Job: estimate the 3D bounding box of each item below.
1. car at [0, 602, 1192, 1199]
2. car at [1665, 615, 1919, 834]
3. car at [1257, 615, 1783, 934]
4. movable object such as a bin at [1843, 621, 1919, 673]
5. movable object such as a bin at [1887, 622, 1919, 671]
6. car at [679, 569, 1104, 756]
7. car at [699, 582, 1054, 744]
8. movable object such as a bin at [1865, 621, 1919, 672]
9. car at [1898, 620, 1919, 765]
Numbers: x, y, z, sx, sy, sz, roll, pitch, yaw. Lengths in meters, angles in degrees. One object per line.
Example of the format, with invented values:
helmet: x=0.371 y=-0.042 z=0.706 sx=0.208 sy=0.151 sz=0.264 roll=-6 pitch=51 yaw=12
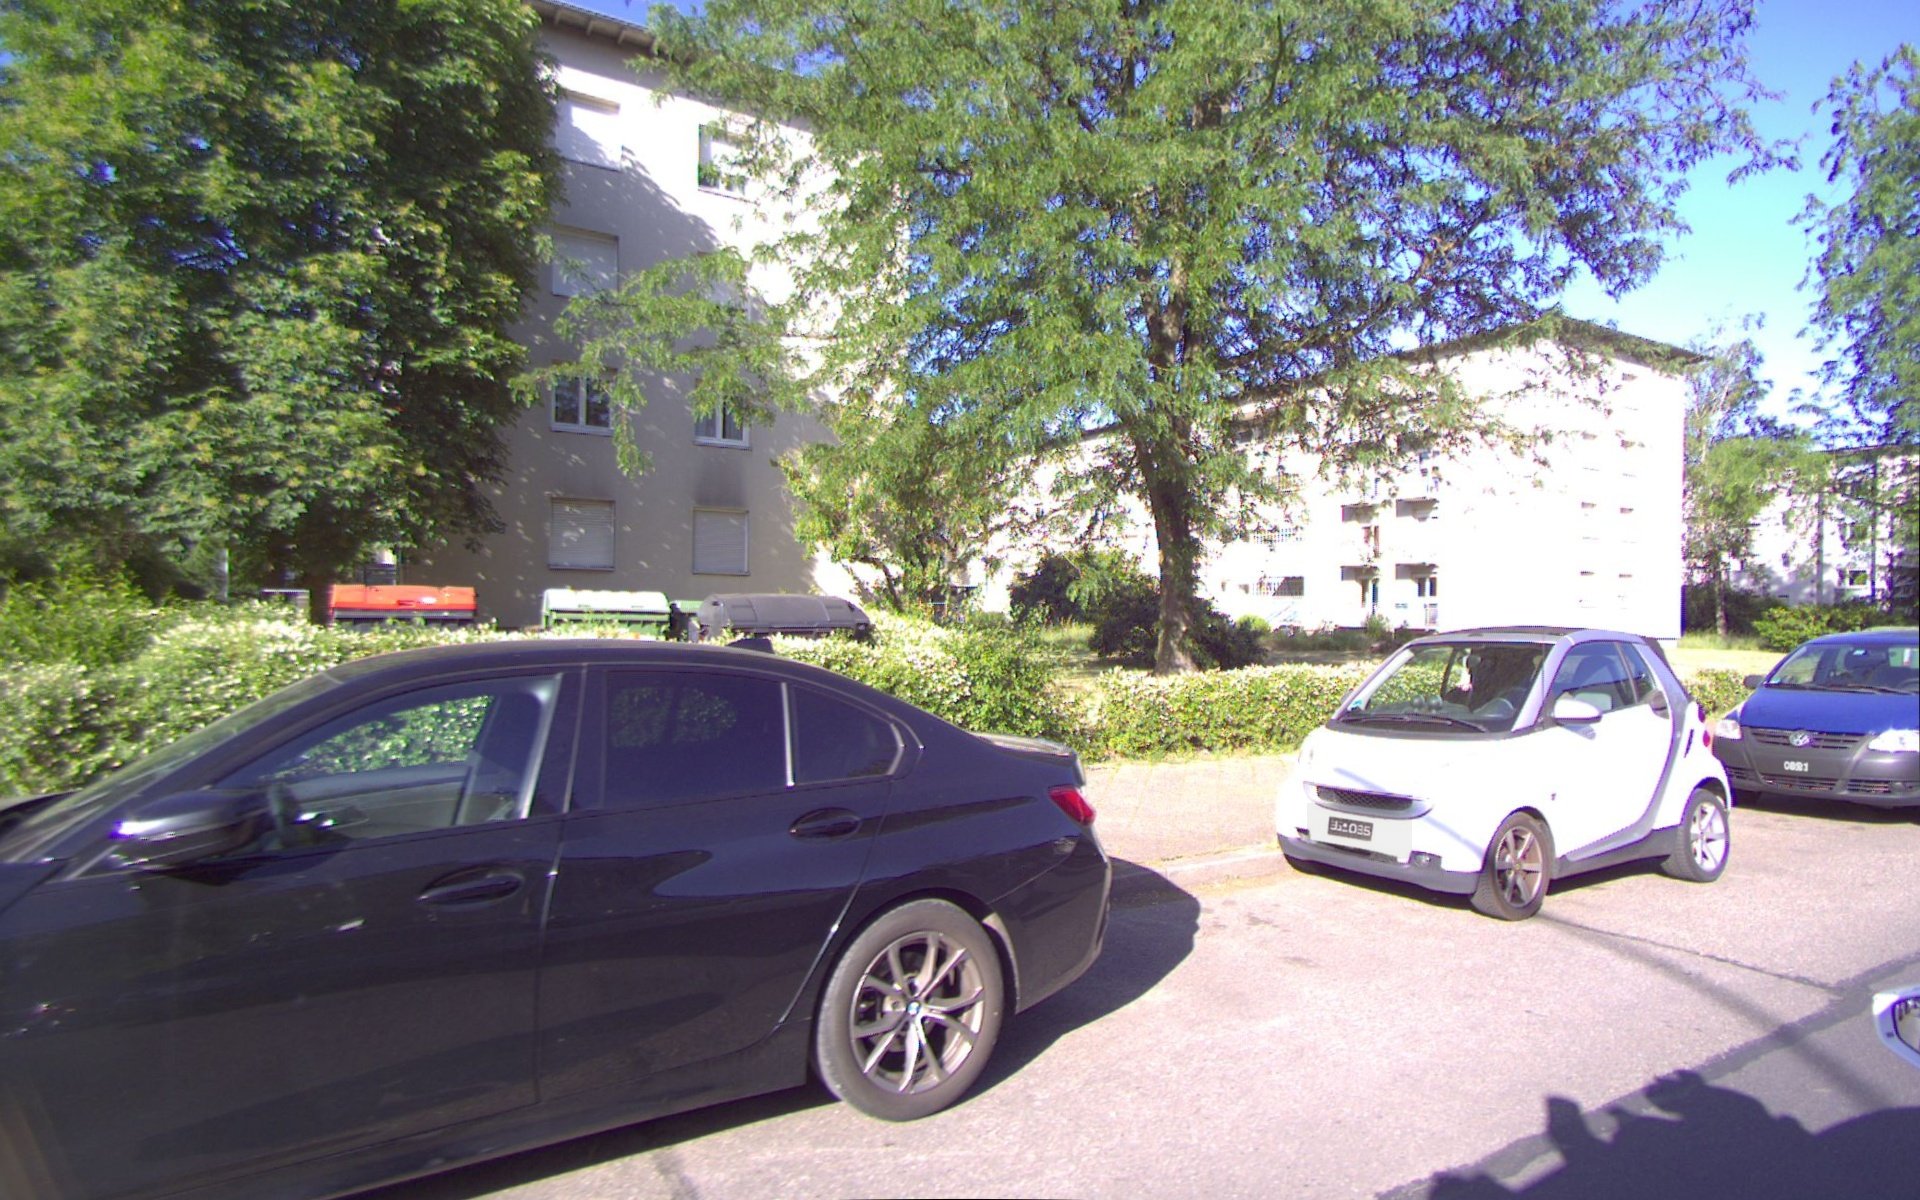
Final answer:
car: x=-1.530 y=0.806 z=3.139 sx=4.486 sy=1.500 sz=1.745 roll=1 pitch=-3 yaw=-32
car: x=8.438 y=0.996 z=9.187 sx=3.921 sy=1.627 sz=1.746 roll=1 pitch=-3 yaw=-30
car: x=3.583 y=0.929 z=6.409 sx=3.102 sy=1.595 sz=1.439 roll=1 pitch=-3 yaw=-27
movable object such as a bin: x=27.192 y=1.378 z=29.664 sx=1.444 sy=1.440 sz=1.172 roll=1 pitch=2 yaw=-28
movable object such as a bin: x=29.967 y=1.451 z=31.262 sx=1.444 sy=1.440 sz=1.172 roll=1 pitch=2 yaw=-28
car: x=-0.598 y=0.543 z=10.012 sx=3.956 sy=1.545 sz=1.561 roll=1 pitch=0 yaw=-33
car: x=-0.932 y=0.671 z=12.032 sx=3.956 sy=1.663 sz=1.561 roll=1 pitch=0 yaw=-33
movable object such as a bin: x=28.646 y=1.409 z=30.549 sx=1.444 sy=1.440 sz=1.172 roll=1 pitch=2 yaw=-28
car: x=12.604 y=1.058 z=11.671 sx=3.495 sy=1.627 sz=1.627 roll=1 pitch=-2 yaw=-32
